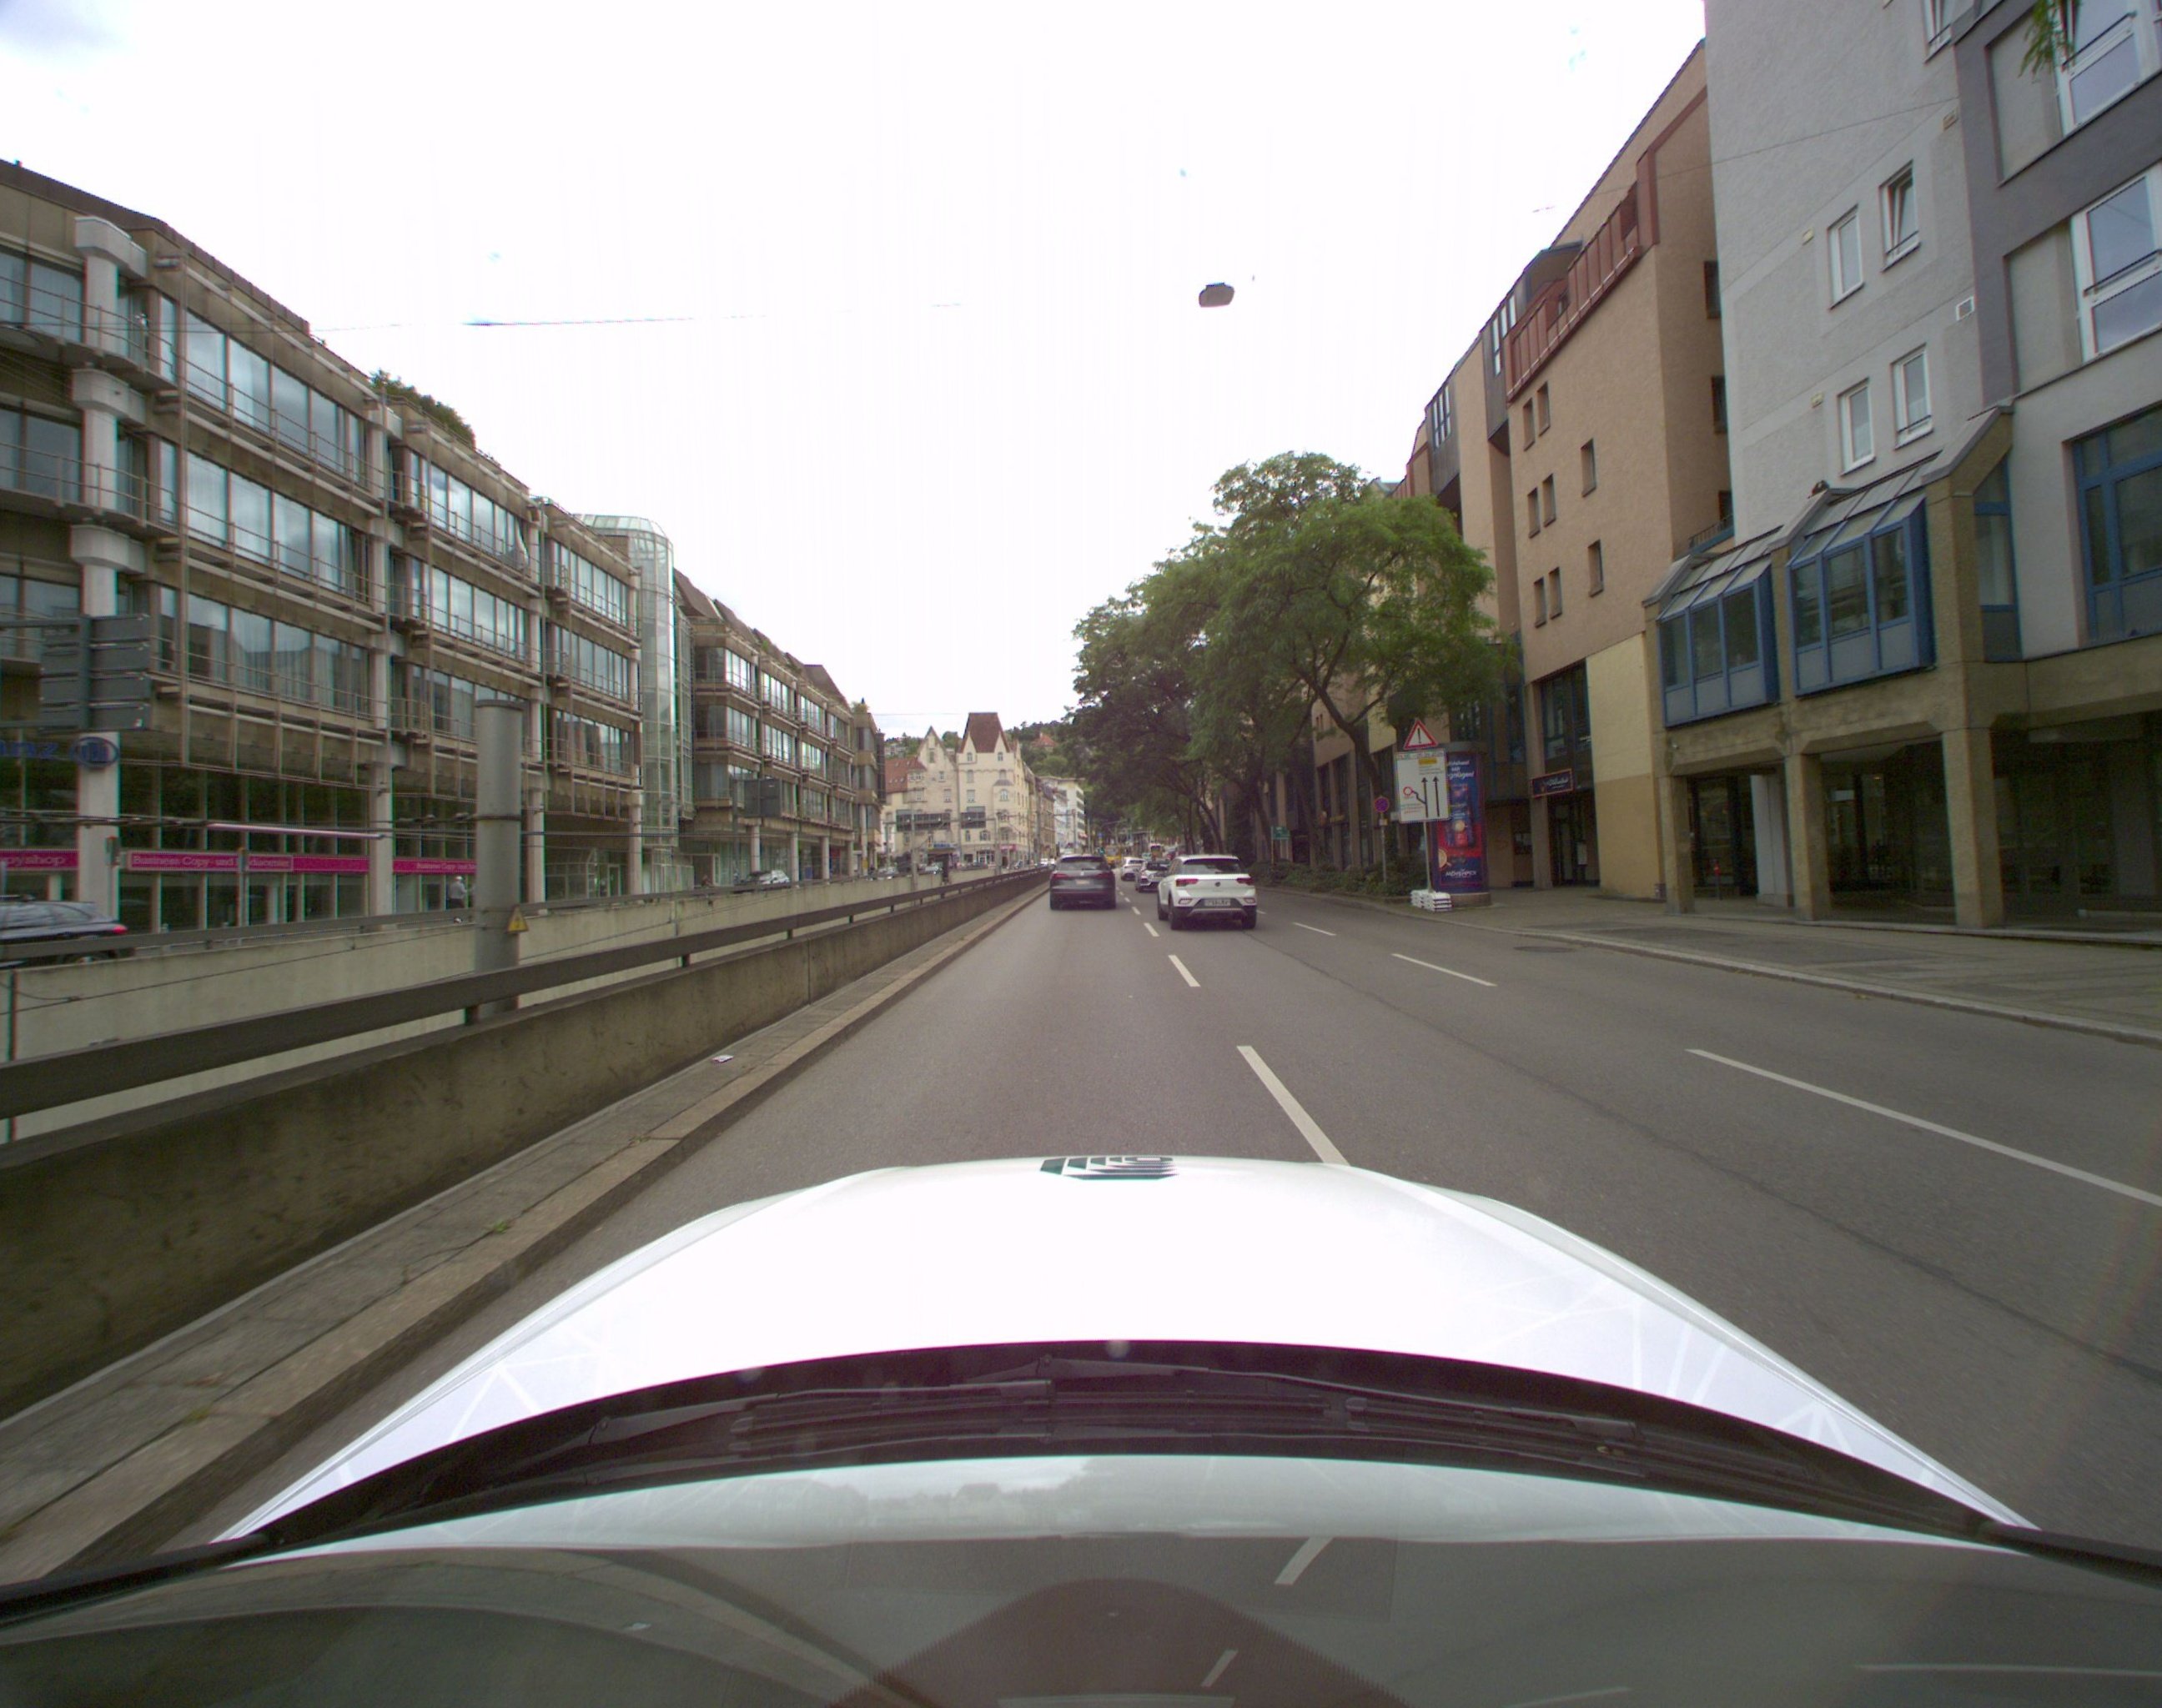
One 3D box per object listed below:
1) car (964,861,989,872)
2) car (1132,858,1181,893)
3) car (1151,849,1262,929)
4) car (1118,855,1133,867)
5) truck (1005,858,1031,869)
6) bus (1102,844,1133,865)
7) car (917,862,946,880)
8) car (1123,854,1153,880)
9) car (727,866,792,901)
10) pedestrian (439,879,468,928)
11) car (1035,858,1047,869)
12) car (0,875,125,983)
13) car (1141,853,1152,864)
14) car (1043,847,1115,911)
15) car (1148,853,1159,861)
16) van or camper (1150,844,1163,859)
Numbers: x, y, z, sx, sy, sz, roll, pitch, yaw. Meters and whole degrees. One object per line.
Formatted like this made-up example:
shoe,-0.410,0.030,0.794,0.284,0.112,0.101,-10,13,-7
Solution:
car,-17.303,2.038,134.997,3.975,1.647,1.824,-3,0,-1
car,3.376,0.942,37.136,1.827,1.432,4.147,-1,0,0
car,2.669,0.715,18.187,1.792,1.545,3.934,-1,-1,-1
car,6.106,0.923,113.115,1.826,1.567,3.767,-3,-1,1
truck,-10.106,1.554,131.099,2.087,1.647,4.823,-3,0,23
bus,7.002,0.053,152.788,3.827,3.532,17.287,-3,0,9
car,-15.262,1.755,83.398,1.986,1.684,4.002,-3,0,2
car,3.775,0.846,54.394,1.825,1.517,3.770,-4,-1,3
car,-18.676,1.678,47.545,1.987,1.768,4.281,-3,0,1
pedestrian,-24.088,1.886,31.269,0.530,1.793,0.695,-3,0,1
car,-6.354,1.450,130.823,1.814,1.647,3.996,-3,0,-3
car,-19.055,1.316,13.195,1.987,1.768,4.281,-3,0,1
car,11.545,0.775,143.541,1.823,1.874,4.877,-4,-1,5
car,-0.004,0.689,25.080,1.963,1.695,4.226,-2,1,1
car,13.967,0.536,156.151,1.834,1.469,4.008,-3,0,7
van or camper,16.285,-0.534,176.125,2.614,3.178,5.812,-3,0,6
